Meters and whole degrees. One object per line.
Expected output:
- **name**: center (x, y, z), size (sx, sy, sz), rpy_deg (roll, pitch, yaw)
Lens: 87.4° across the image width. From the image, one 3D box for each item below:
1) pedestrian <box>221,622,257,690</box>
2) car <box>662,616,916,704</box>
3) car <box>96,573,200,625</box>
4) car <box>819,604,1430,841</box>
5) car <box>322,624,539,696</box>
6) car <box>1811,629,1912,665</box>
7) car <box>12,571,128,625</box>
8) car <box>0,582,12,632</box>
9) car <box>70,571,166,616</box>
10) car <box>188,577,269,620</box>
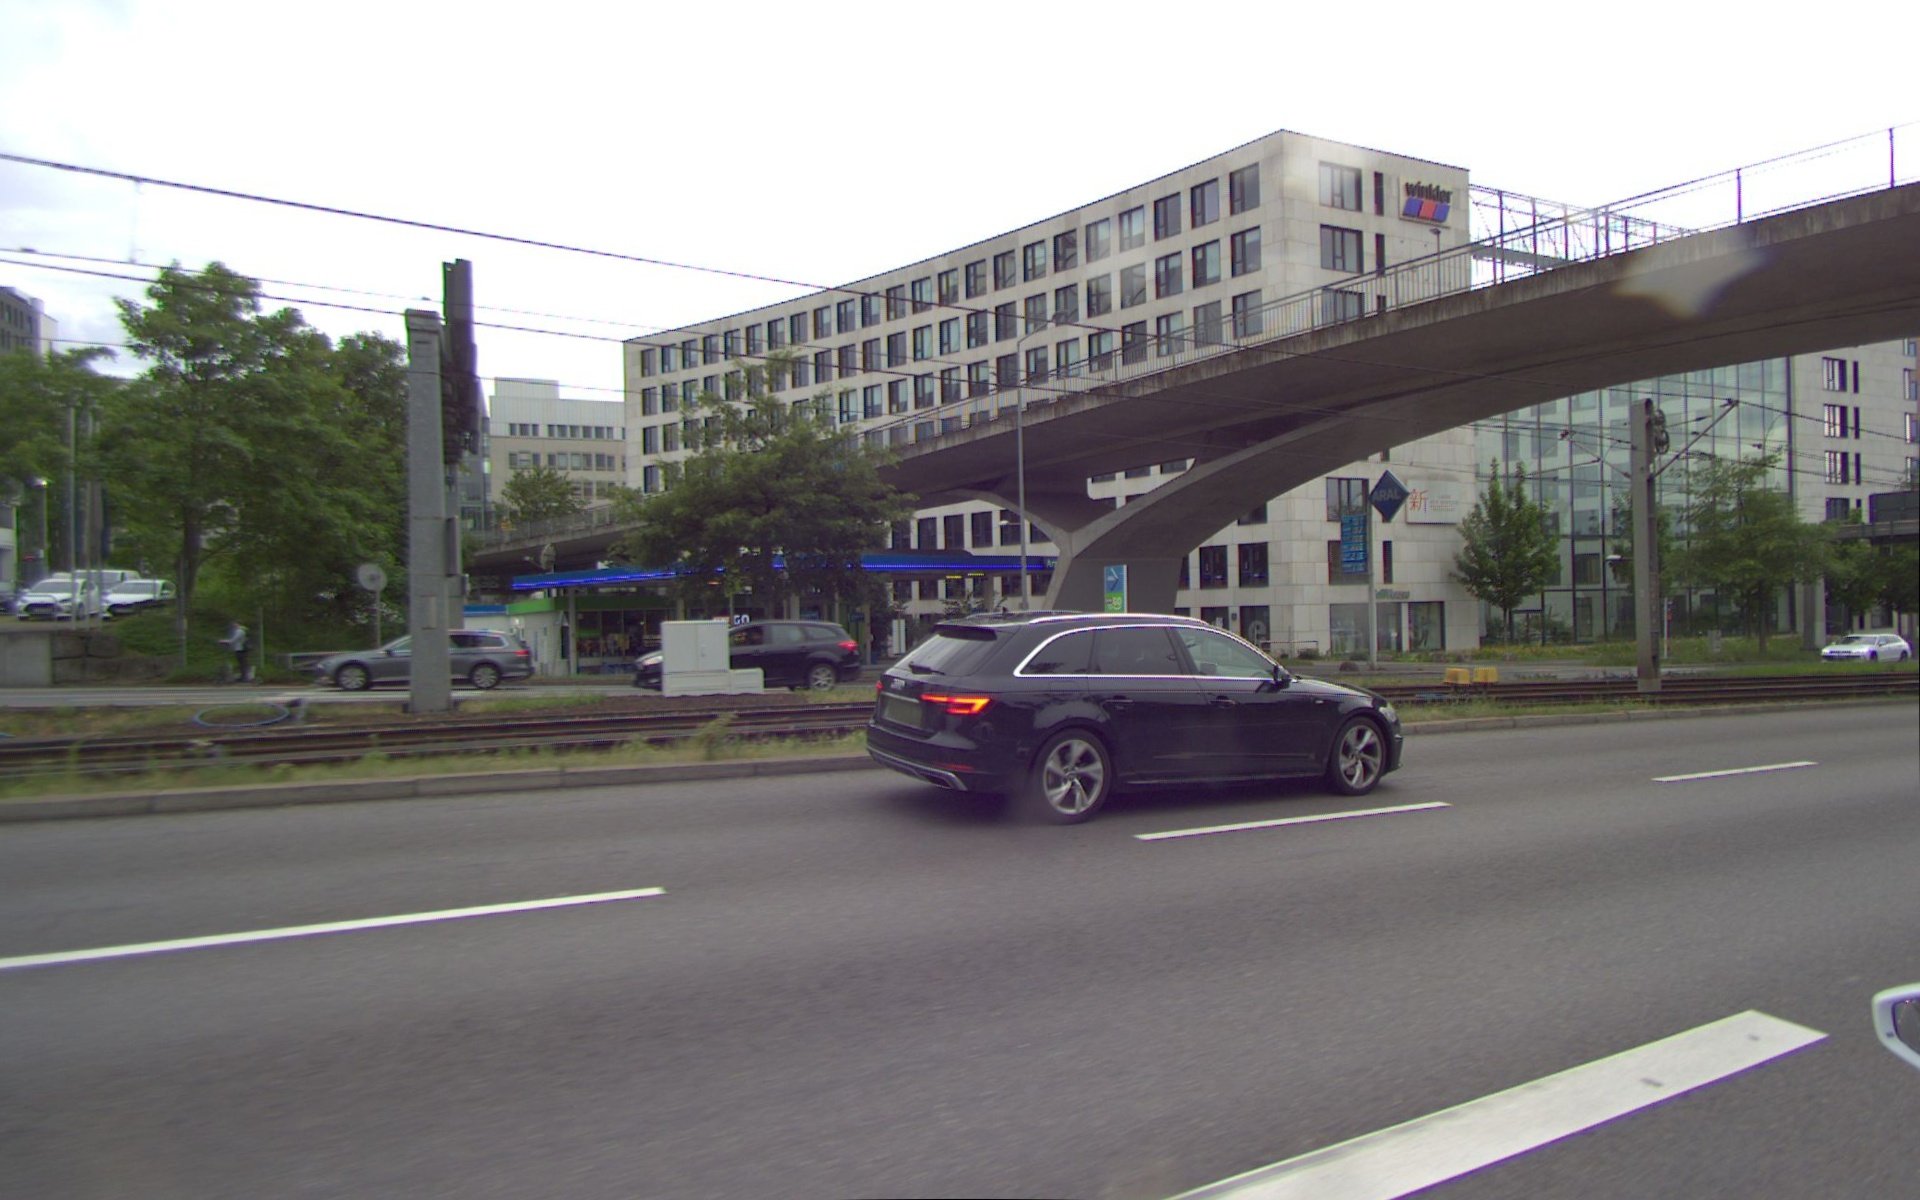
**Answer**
- **pedestrian**: center (-19.882, 1.538, 27.721), size (0.628, 1.820, 0.684), rpy_deg (2, 0, -24)
- **car**: center (-3.449, 1.125, 20.381), size (4.699, 1.559, 2.039), rpy_deg (0, 0, -28)
- **car**: center (-31.293, -0.037, 38.873), size (1.858, 1.838, 4.344), rpy_deg (2, 0, -22)
- **car**: center (1.423, 0.815, 8.076), size (4.746, 1.432, 1.778), rpy_deg (2, 0, -28)
- **car**: center (-12.774, 1.389, 24.551), size (4.506, 1.549, 2.041), rpy_deg (0, 0, -25)
- **car**: center (42.042, 2.180, 46.839), size (4.594, 1.517, 1.914), rpy_deg (0, 0, -26)
- **car**: center (-33.365, -0.075, 37.813), size (1.858, 1.838, 4.344), rpy_deg (2, 0, -22)
- **car**: center (-29.823, 0.192, 29.127), size (1.858, 1.523, 4.344), rpy_deg (2, 0, -22)
- **car**: center (-36.485, -0.275, 43.670), size (1.858, 1.794, 4.344), rpy_deg (2, 0, -22)
- **car**: center (-32.484, -0.073, 44.740), size (1.817, 1.794, 4.344), rpy_deg (2, 0, -22)
